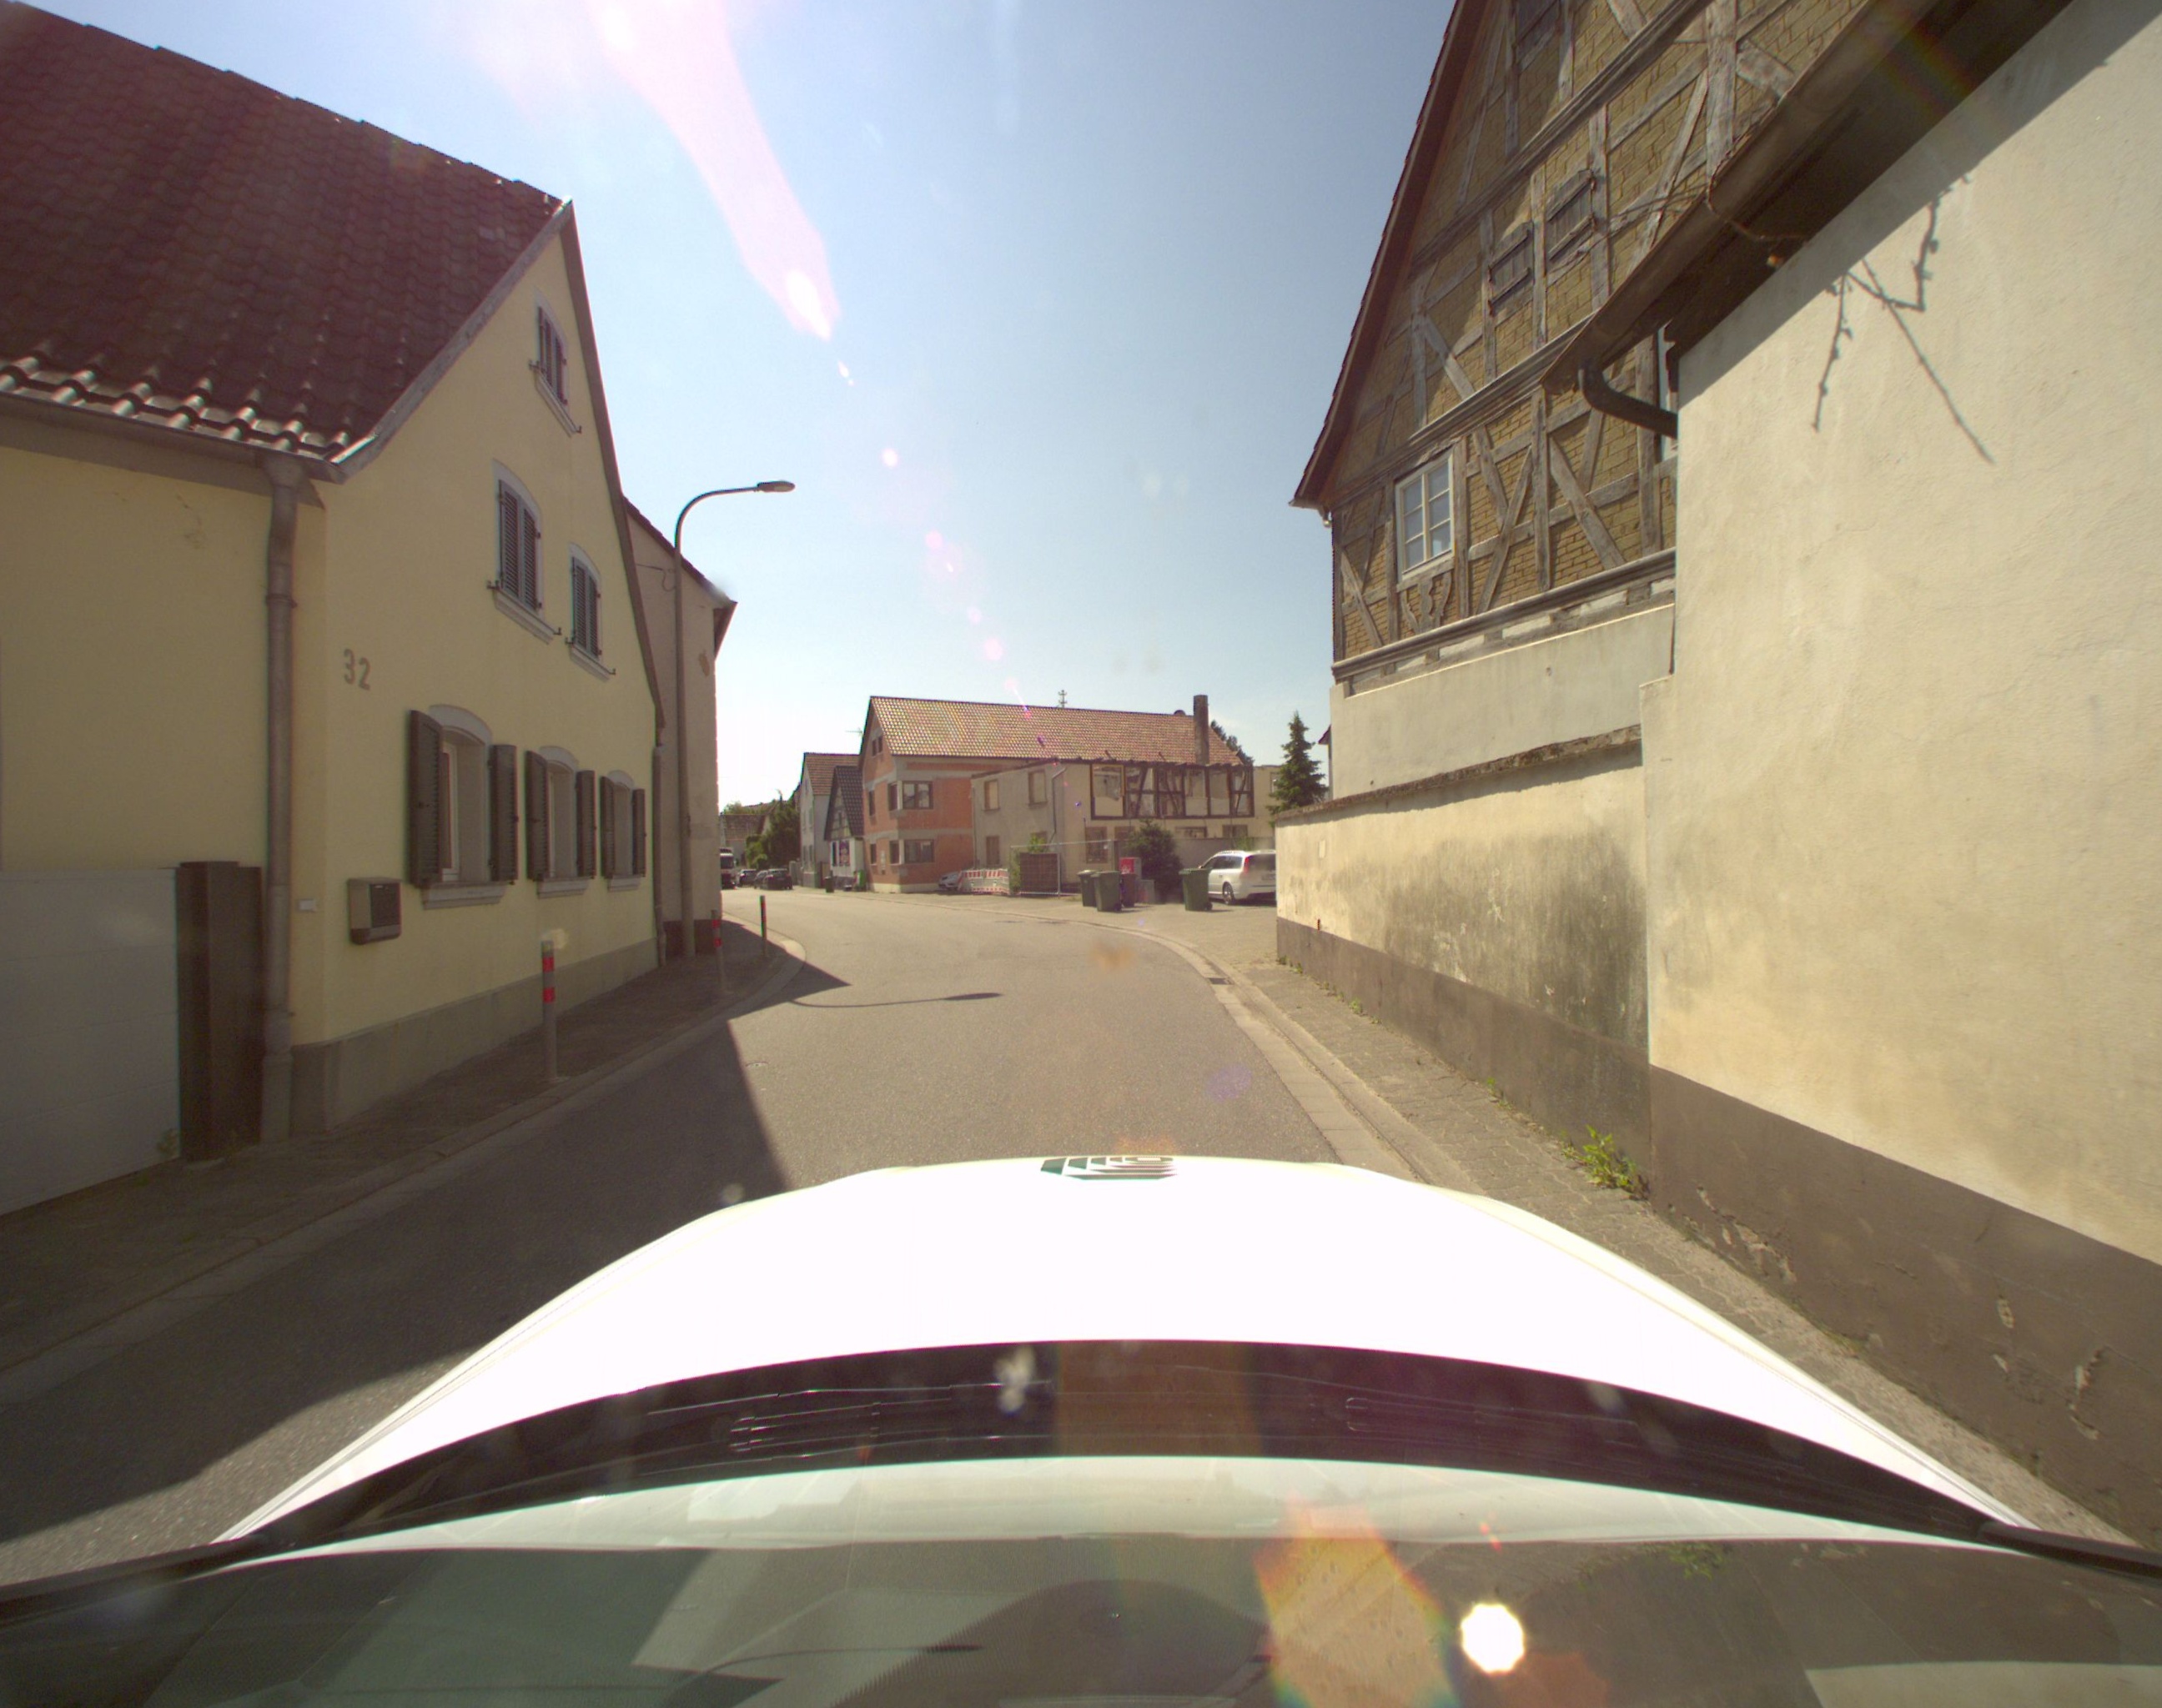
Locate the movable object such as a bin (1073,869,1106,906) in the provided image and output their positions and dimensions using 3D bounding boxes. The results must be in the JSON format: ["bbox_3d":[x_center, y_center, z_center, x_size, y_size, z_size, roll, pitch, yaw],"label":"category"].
[{"bbox_3d":[0.266,0.996,24.536,0.664,1.072,0.766,-2,0,29],"label":"movable object such as a bin"}]

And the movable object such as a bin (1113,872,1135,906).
[{"bbox_3d":[1.249,1.003,23.614,0.466,0.970,0.492,-2,0,-22],"label":"movable object such as a bin"}]

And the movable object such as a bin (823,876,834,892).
[{"bbox_3d":[-15.181,1.780,48.893,0.538,0.913,0.549,-2,-1,-12],"label":"movable object such as a bin"}]

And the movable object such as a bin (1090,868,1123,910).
[{"bbox_3d":[0.702,0.948,22.301,0.689,1.092,0.633,-2,0,-21],"label":"movable object such as a bin"}]

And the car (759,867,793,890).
[{"bbox_3d":[-23.049,1.839,61.452,1.808,1.560,4.588,-2,0,-28],"label":"car"}]

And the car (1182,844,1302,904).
[{"bbox_3d":[4.597,0.542,23.900,1.813,1.528,4.277,-2,0,-13],"label":"car"}]

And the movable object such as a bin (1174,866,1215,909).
[{"bbox_3d":[2.942,0.853,21.161,0.723,1.081,0.749,-2,0,-24],"label":"movable object such as a bin"}]

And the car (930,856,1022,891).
[{"bbox_3d":[-5.206,0.946,40.594,4.119,1.507,1.850,-3,0,-34],"label":"car"}]

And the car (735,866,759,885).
[{"bbox_3d":[-31.139,1.997,75.866,1.803,1.631,4.324,-1,0,-25],"label":"car"}]

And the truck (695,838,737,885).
[{"bbox_3d":[-31.928,0.685,71.030,2.711,3.750,10.771,-1,0,-27],"label":"truck"}]
